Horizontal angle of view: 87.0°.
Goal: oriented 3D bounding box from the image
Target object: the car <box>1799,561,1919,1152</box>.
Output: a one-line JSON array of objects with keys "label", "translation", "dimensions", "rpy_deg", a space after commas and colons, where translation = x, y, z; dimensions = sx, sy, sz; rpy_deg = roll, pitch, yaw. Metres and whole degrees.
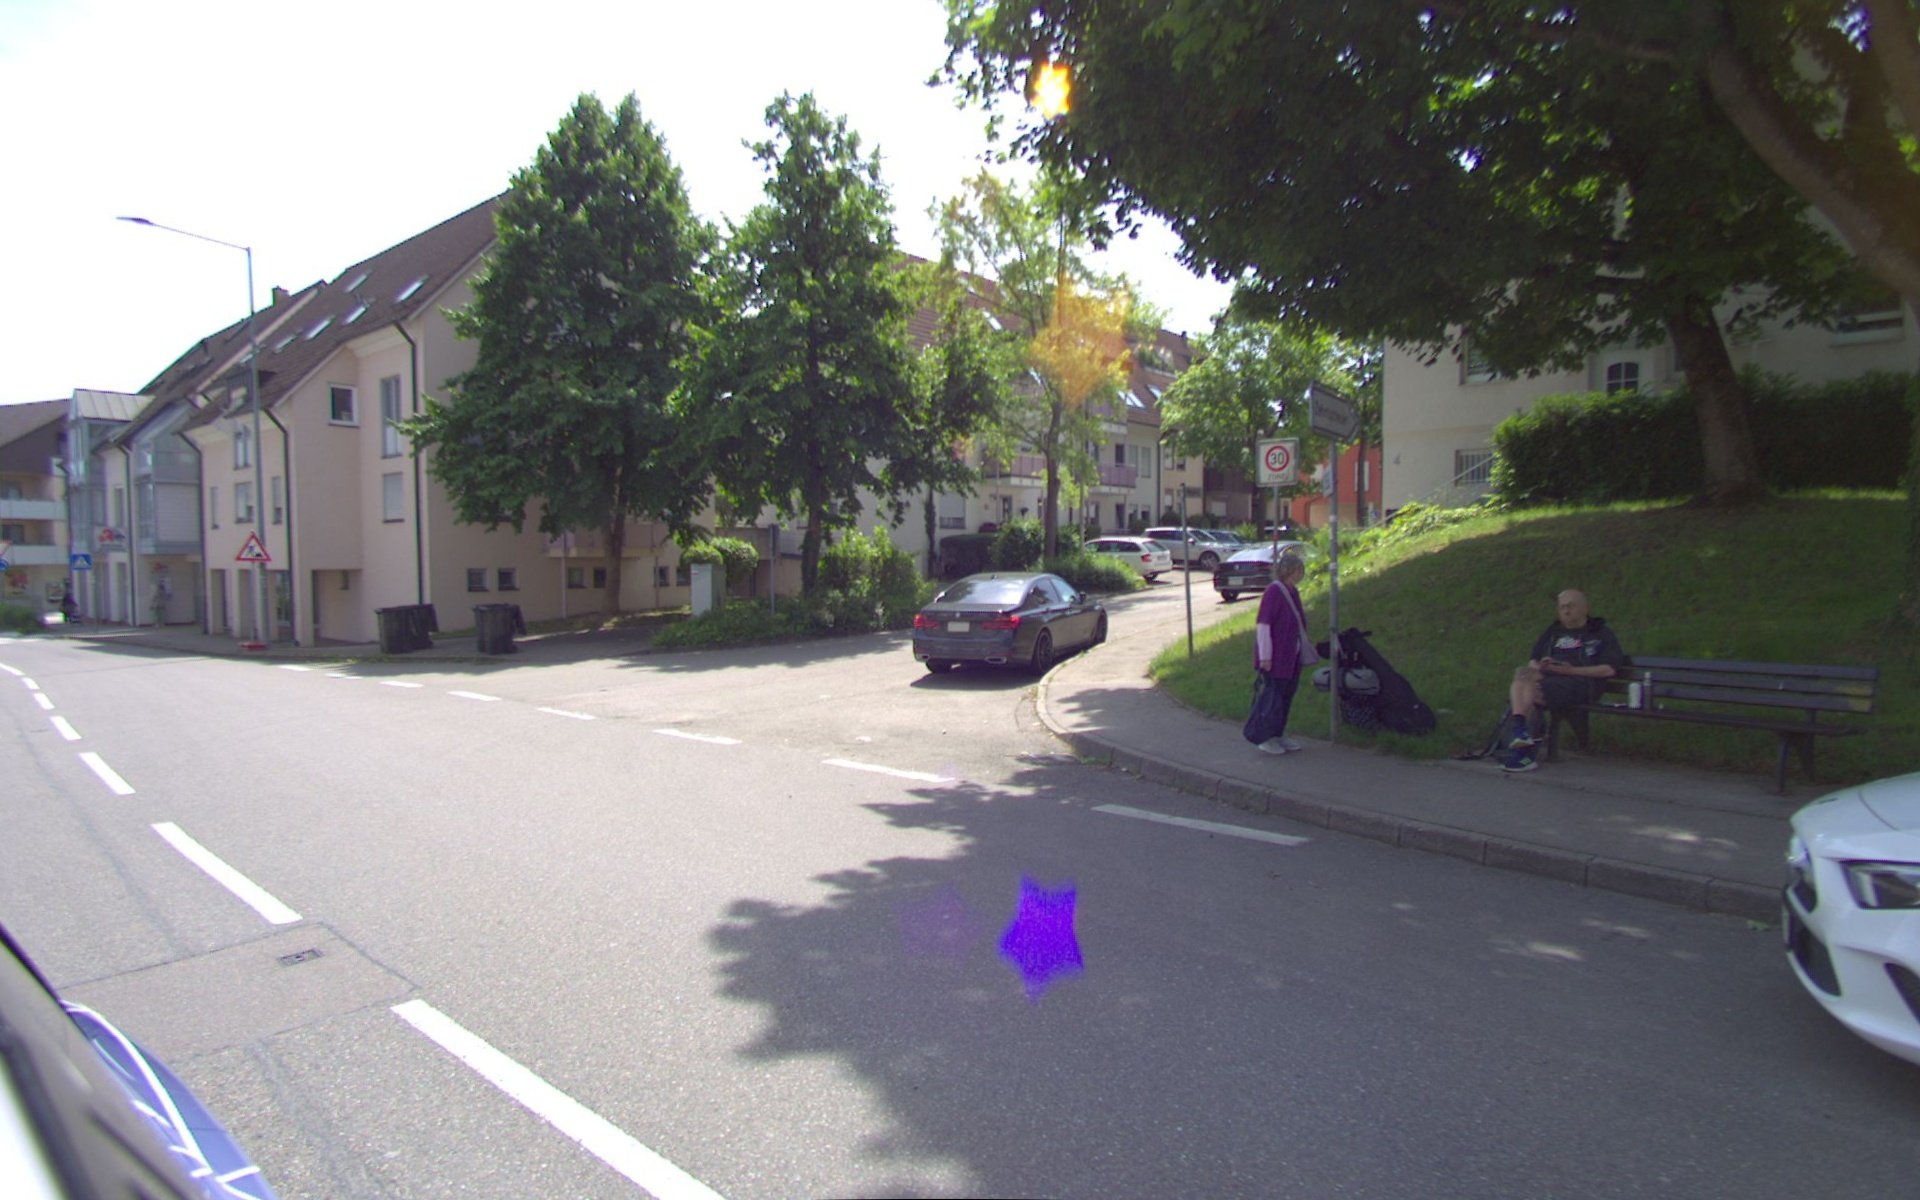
[{"label": "car", "translation": [4.438, 0.618, 1.900], "dimensions": [4.360, 1.478, 1.736], "rpy_deg": [-1, -1, 41]}]

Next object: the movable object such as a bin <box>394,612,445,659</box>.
[{"label": "movable object such as a bin", "translation": [-12.510, 0.813, 23.427], "dimensions": [0.805, 1.007, 0.791], "rpy_deg": [0, 3, 44]}]

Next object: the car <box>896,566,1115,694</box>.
[{"label": "car", "translation": [0.930, 0.354, 16.308], "dimensions": [1.987, 1.490, 4.756], "rpy_deg": [-1, 4, 23]}]

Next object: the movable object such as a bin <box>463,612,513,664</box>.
[{"label": "movable object such as a bin", "translation": [-10.353, 0.820, 22.220], "dimensions": [0.609, 1.007, 0.763], "rpy_deg": [2, 7, 44]}]

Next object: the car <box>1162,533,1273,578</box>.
[{"label": "car", "translation": [10.508, -1.797, 41.416], "dimensions": [4.000, 1.590, 1.789], "rpy_deg": [-1, 2, 43]}]

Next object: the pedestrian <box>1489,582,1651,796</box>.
[{"label": "pedestrian", "translation": [4.197, 0.548, 6.930], "dimensions": [1.222, 1.278, 0.647], "rpy_deg": [-4, 2, -45]}]

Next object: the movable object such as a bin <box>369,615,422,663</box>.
[{"label": "movable object such as a bin", "translation": [-12.631, 0.857, 22.651], "dimensions": [0.694, 1.008, 0.842], "rpy_deg": [0, 2, 44]}]

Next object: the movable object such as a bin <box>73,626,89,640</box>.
[{"label": "movable object such as a bin", "translation": [-38.797, 1.471, 44.657], "dimensions": [0.468, 0.586, 0.453], "rpy_deg": [0, 2, 40]}]

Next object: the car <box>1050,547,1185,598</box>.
[{"label": "car", "translation": [5.373, -0.939, 34.814], "dimensions": [4.146, 1.579, 1.972], "rpy_deg": [-1, 2, 42]}]

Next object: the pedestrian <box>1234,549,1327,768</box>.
[{"label": "pedestrian", "translation": [2.531, 0.426, 7.960], "dimensions": [0.625, 1.628, 0.727], "rpy_deg": [-1, 2, 22]}]

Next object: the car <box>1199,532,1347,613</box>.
[{"label": "car", "translation": [8.058, -0.739, 25.896], "dimensions": [1.910, 1.696, 3.943], "rpy_deg": [-2, 3, 45]}]

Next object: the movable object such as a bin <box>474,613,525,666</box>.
[{"label": "movable object such as a bin", "translation": [-9.894, 0.836, 21.763], "dimensions": [0.609, 1.007, 0.763], "rpy_deg": [2, 7, 45]}]

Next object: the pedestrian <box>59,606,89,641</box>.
[{"label": "pedestrian", "translation": [-39.164, 1.041, 44.721], "dimensions": [0.956, 1.489, 0.792], "rpy_deg": [0, 2, 39]}]

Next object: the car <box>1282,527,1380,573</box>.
[{"label": "car", "translation": [17.792, -2.390, 48.613], "dimensions": [3.946, 1.833, 1.813], "rpy_deg": [-4, 0, 43]}]

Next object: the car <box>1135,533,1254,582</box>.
[{"label": "car", "translation": [9.083, -1.641, 39.363], "dimensions": [4.000, 1.723, 1.972], "rpy_deg": [-1, 3, 43]}]
